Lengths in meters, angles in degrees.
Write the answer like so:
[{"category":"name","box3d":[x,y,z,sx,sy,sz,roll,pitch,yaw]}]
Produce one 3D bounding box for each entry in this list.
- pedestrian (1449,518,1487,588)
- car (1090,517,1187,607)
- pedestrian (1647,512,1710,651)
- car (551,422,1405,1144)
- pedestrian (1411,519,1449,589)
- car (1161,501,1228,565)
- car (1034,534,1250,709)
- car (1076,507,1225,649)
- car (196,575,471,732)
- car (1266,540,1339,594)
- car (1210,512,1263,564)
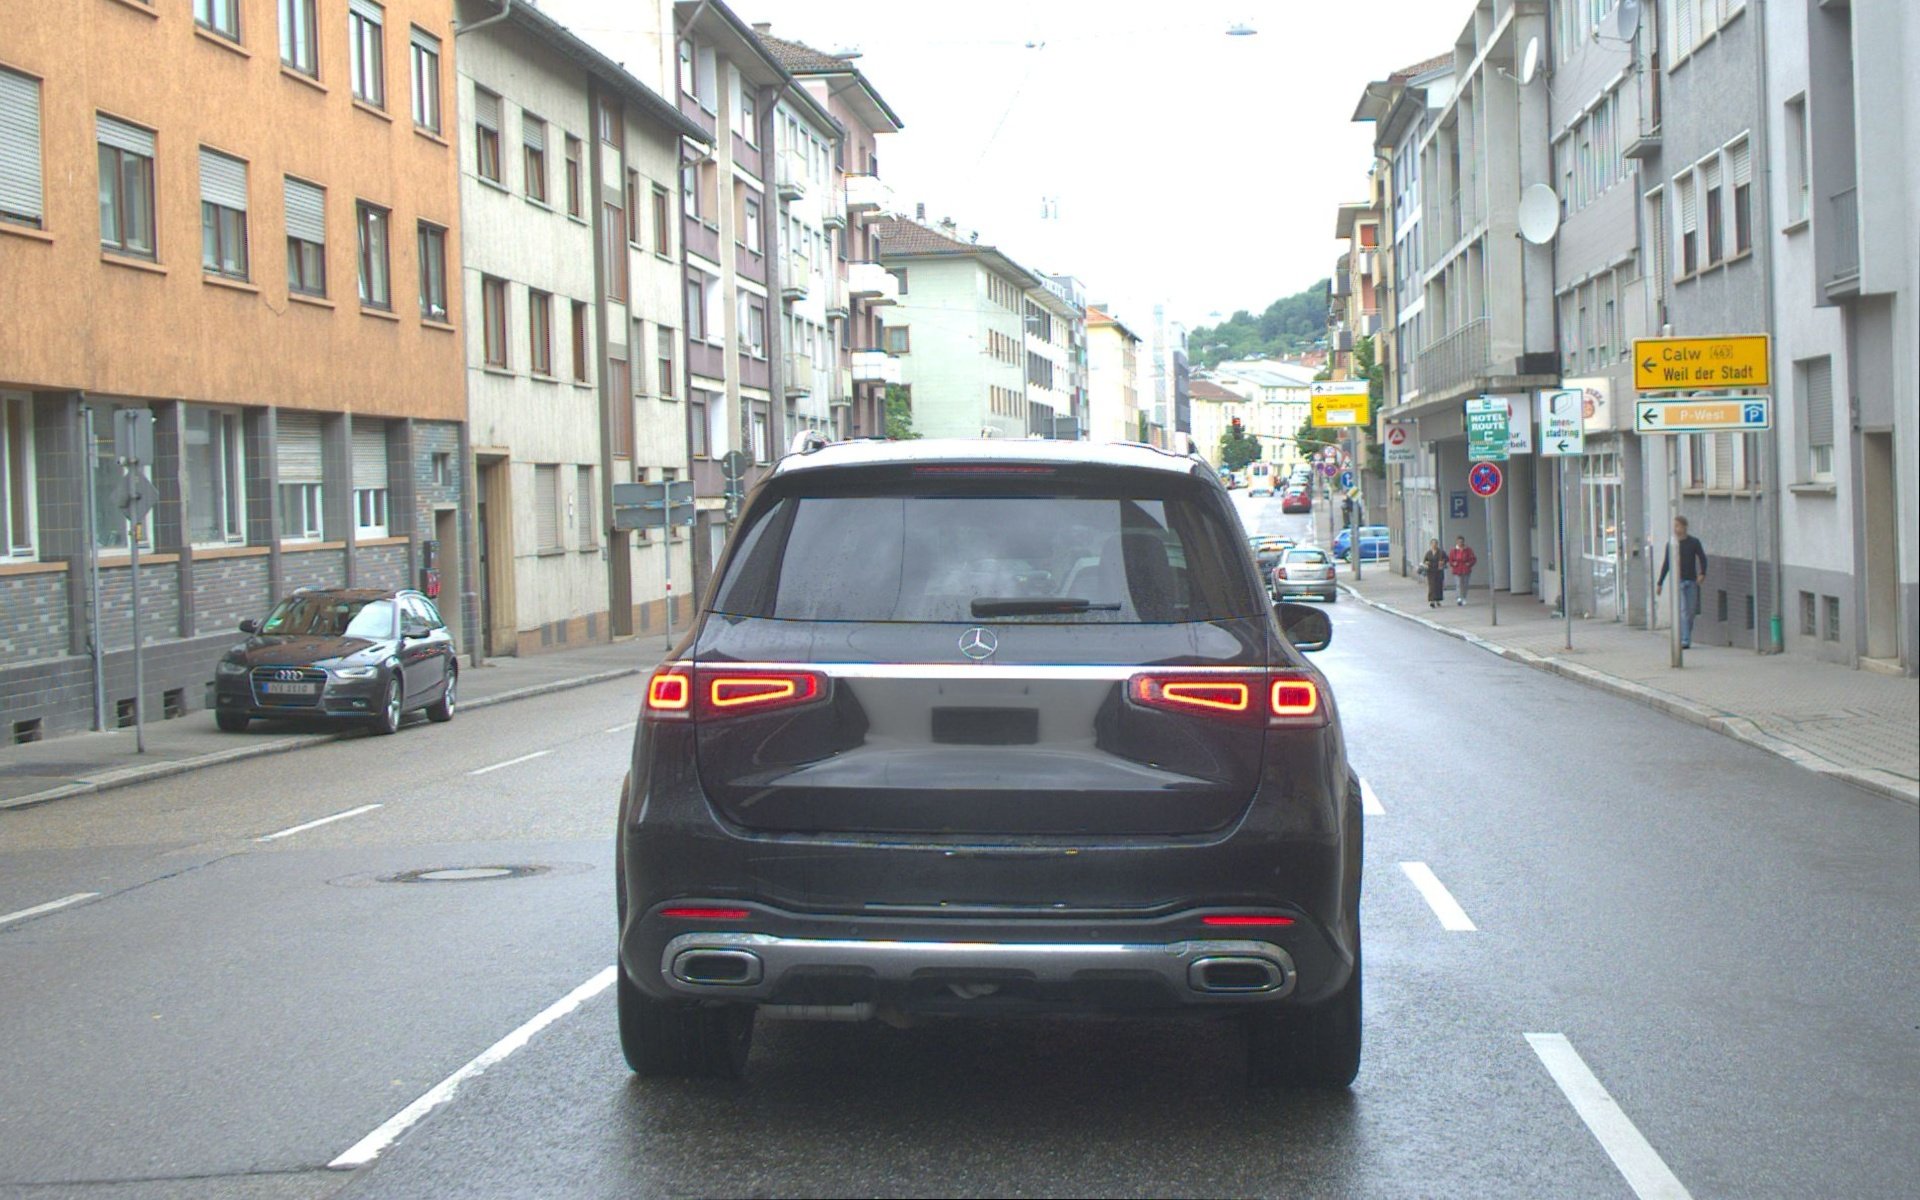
[{"category":"pedestrian","box3d":[11.504,-1.070,77.833,0.821,1.560,0.899,0,1,7]},{"category":"car","box3d":[4.162,-0.894,79.662,1.994,2.007,3.999,0,2,6]},{"category":"pedestrian","box3d":[9.367,-0.248,44.851,0.656,1.746,0.741,-4,1,9]},{"category":"car","box3d":[0.149,0.382,10.706,2.076,1.759,4.611,0,2,3]},{"category":"pedestrian","box3d":[10.653,-1.041,77.908,0.821,1.560,0.899,0,1,7]},{"category":"car","box3d":[7.597,-2.174,111.223,1.994,2.007,3.999,0,2,6]},{"category":"car","box3d":[1.671,0.151,32.607,1.893,1.505,4.173,1,2,2]},{"category":"car","box3d":[2.874,-0.363,51.056,1.994,2.007,3.999,0,2,6]},{"category":"car","box3d":[-6.502,0.512,36.178,1.891,1.453,4.549,0,2,2]},{"category":"car","box3d":[9.305,-0.908,93.582,1.734,1.383,4.582,0,2,3]},{"category":"car","box3d":[11.114,-2.497,137.821,1.994,2.007,3.999,0,2,6]}]
